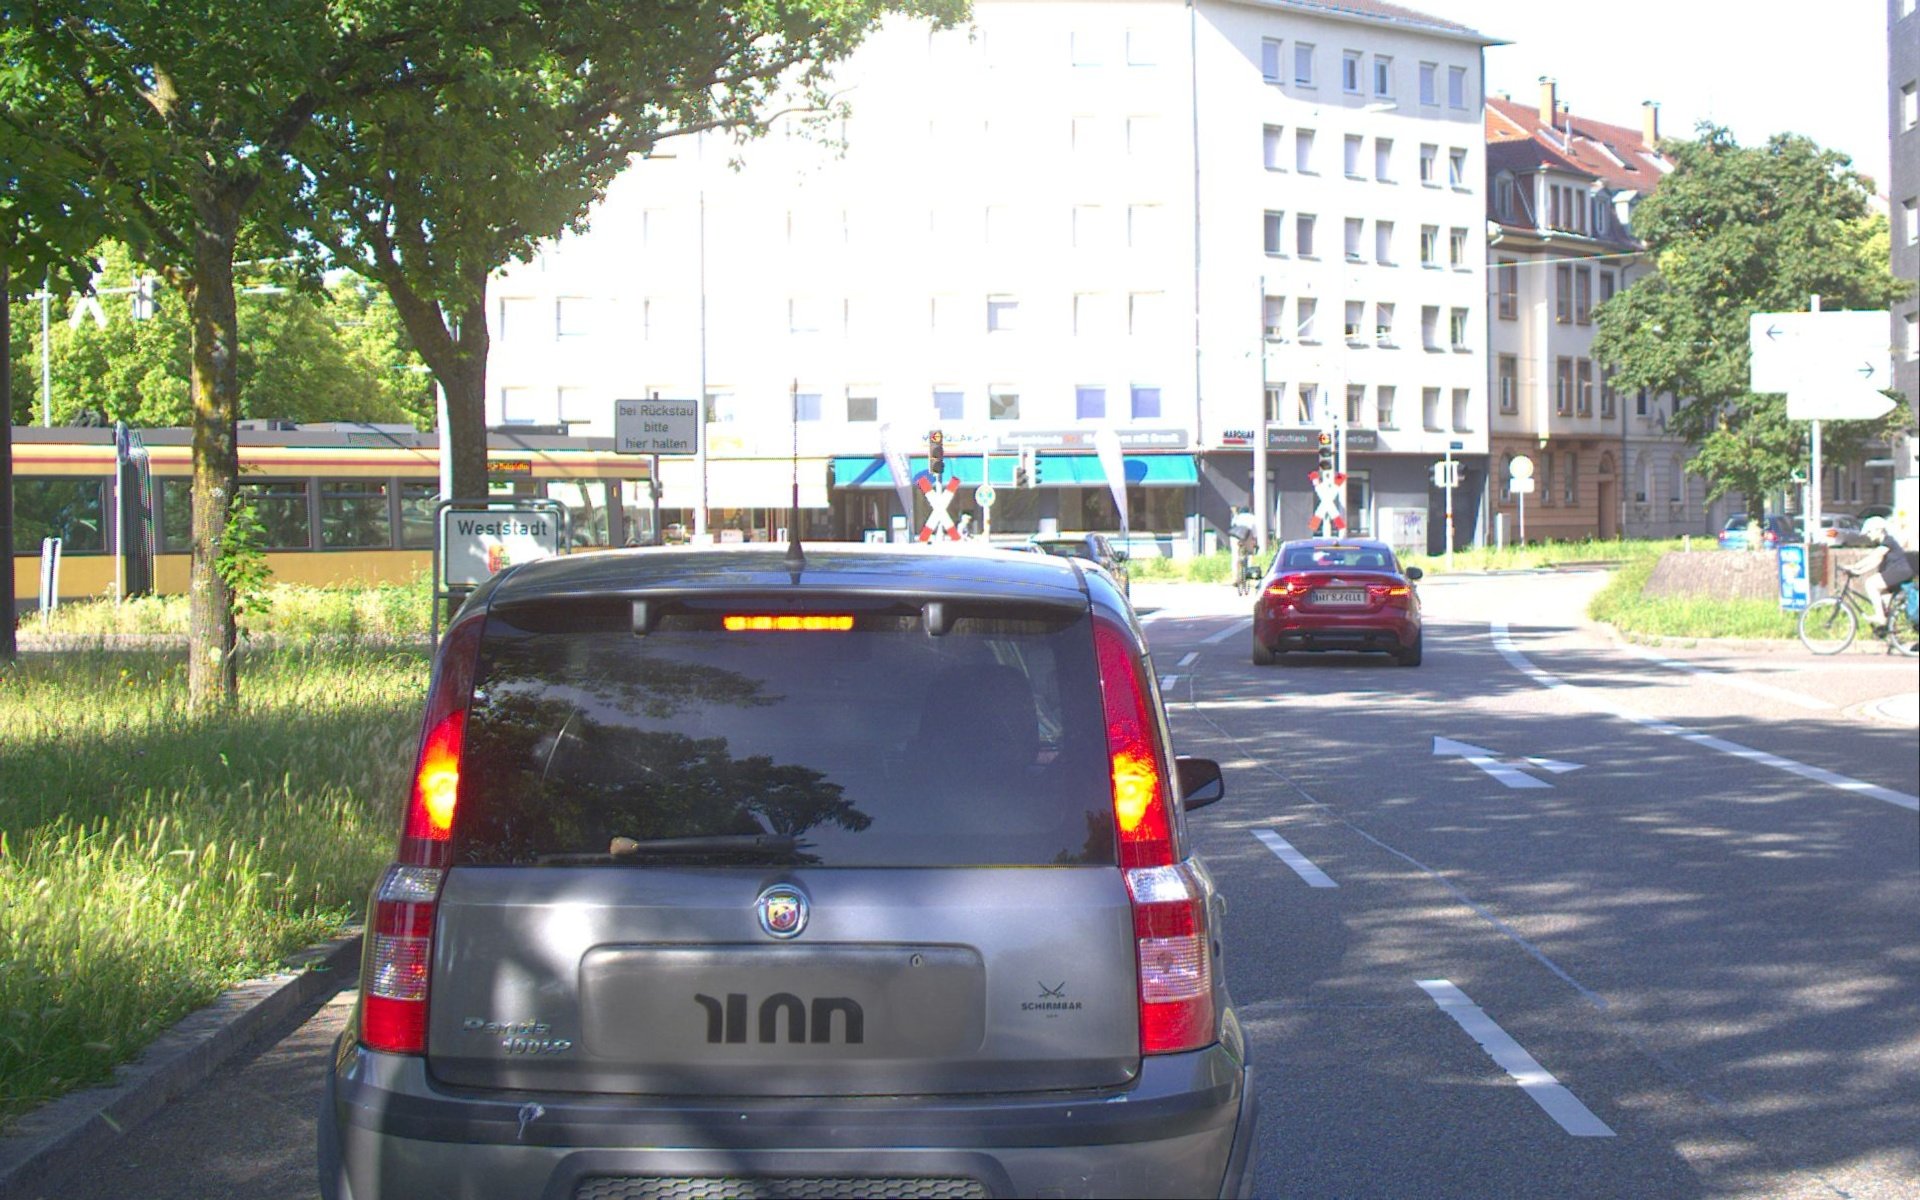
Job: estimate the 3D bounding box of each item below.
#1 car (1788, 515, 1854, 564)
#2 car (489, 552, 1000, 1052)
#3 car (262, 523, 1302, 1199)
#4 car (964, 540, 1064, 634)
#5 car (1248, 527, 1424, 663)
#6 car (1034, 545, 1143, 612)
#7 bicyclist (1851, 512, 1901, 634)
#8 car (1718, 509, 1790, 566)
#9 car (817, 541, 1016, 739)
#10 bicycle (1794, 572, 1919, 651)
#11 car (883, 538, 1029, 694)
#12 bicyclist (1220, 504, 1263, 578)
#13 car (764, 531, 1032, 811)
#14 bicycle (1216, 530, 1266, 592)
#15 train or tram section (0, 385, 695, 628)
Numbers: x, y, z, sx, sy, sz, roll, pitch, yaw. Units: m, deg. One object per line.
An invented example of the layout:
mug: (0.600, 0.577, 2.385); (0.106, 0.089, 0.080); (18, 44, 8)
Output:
car: (23.563, -1.667, 94.022); (1.528, 1.310, 3.285); (0, 1, 18)
car: (-0.641, 0.561, 11.646); (1.463, 1.396, 3.393); (0, 1, -1)
car: (-0.298, 0.599, 7.424); (1.628, 1.503, 4.000); (-1, 1, -1)
car: (0.752, -0.210, 49.607); (1.356, 1.277, 2.876); (0, 1, -1)
car: (4.244, -0.102, 39.350); (1.887, 1.423, 4.386); (0, 2, 5)
car: (2.174, -0.368, 57.675); (1.143, 1.060, 2.719); (0, 1, 17)
bicyclist: (11.247, -0.338, 42.204); (0.584, 1.488, 0.550); (0, 1, 15)
car: (20.886, -1.662, 90.394); (1.683, 1.444, 3.569); (0, 1, 15)
car: (-0.343, 0.271, 27.234); (1.463, 1.420, 3.381); (0, 2, -1)
bicycle: (11.177, 0.139, 42.247); (1.791, 0.942, 0.560); (0, 1, 15)
car: (-0.058, 0.124, 33.869); (1.356, 1.444, 3.266); (-1, 1, -1)
bicyclist: (5.546, -1.166, 67.795); (0.741, 1.433, 0.845); (1, 0, -1)
car: (-0.358, 0.357, 20.685); (1.463, 1.503, 3.505); (0, 2, -1)
bicycle: (5.536, -0.764, 67.884); (0.708, 1.194, 2.520); (1, 1, -2)
train or tram section: (-13.045, -1.583, 58.011); (3.303, 3.757, 20.760); (1, 2, 41)
